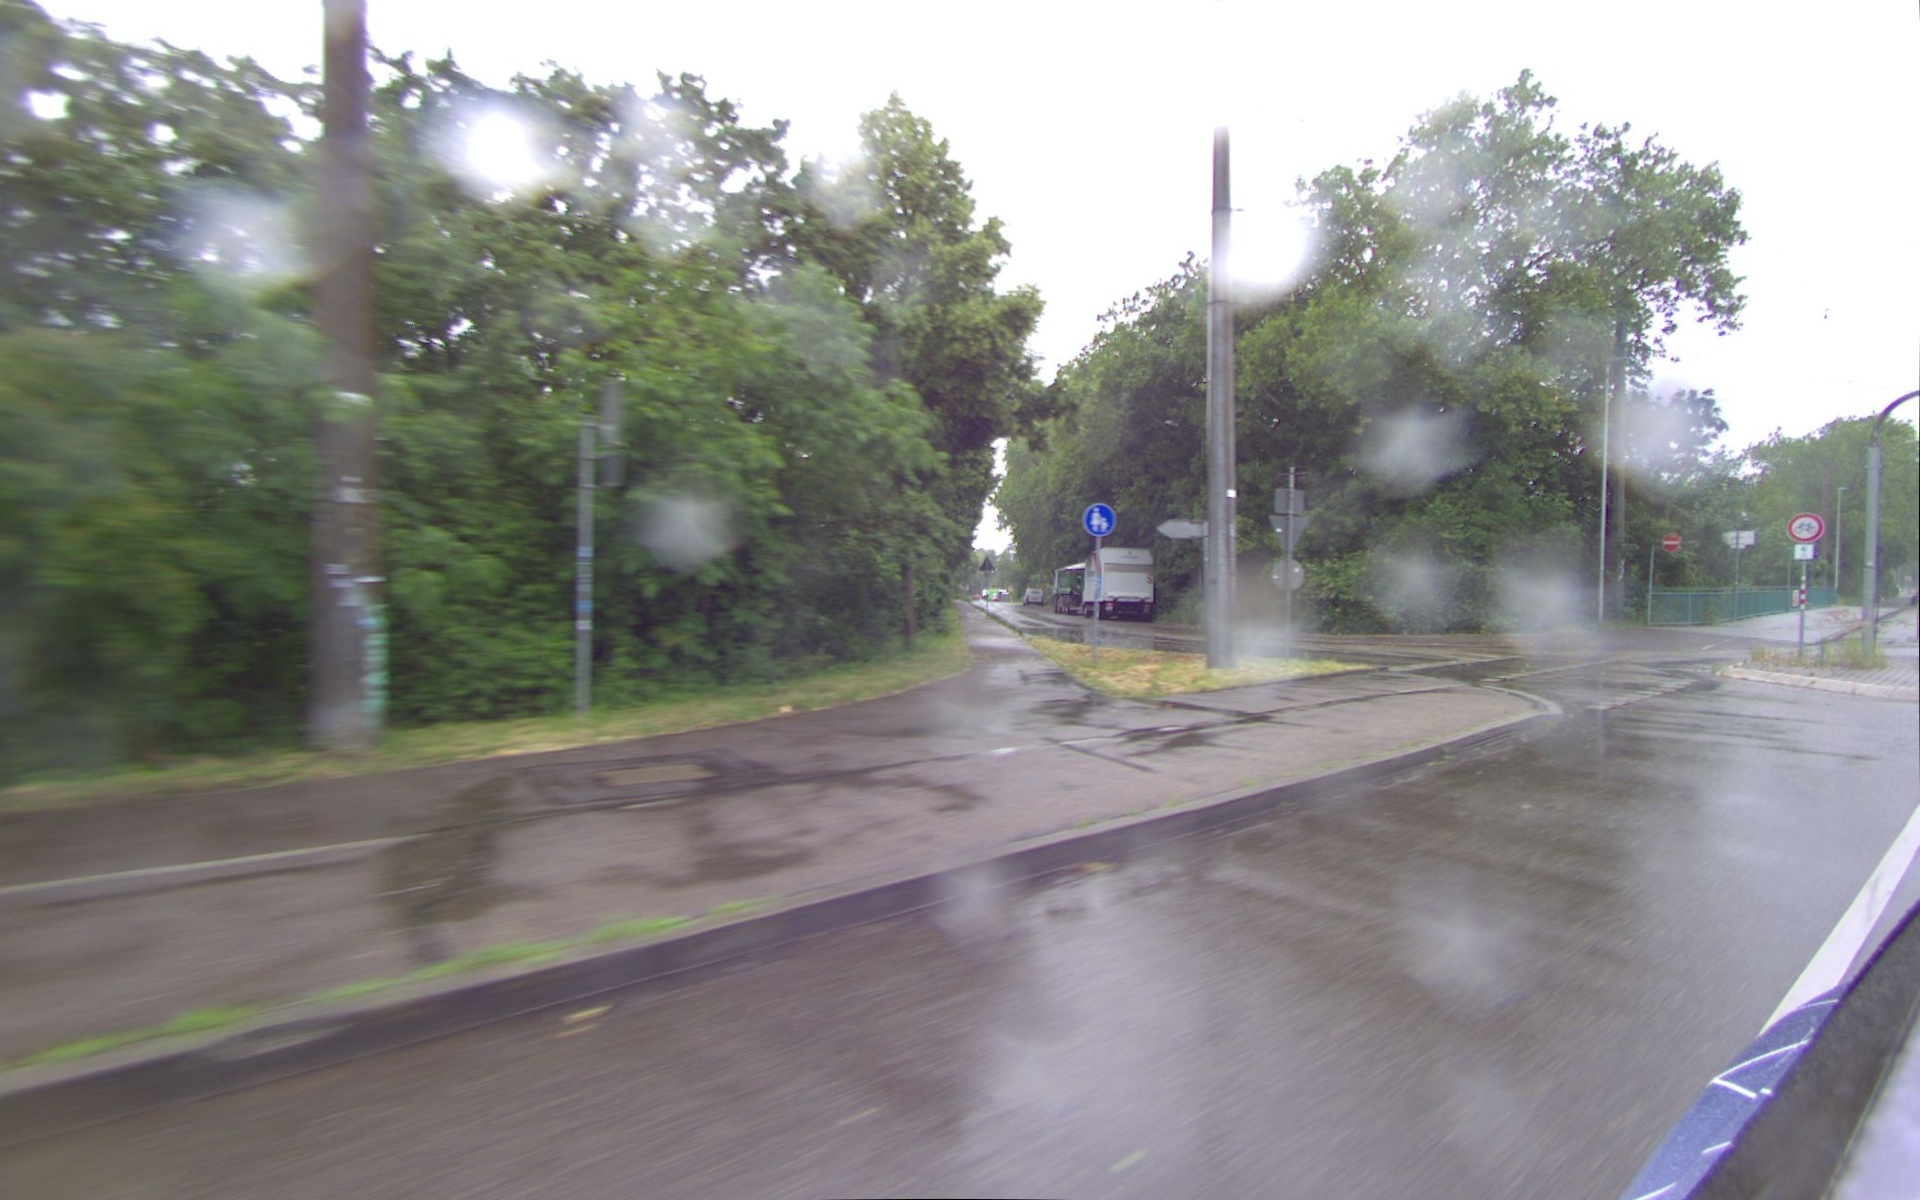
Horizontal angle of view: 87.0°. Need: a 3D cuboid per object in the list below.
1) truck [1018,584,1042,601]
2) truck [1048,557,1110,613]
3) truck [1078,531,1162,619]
[{"bbox_3d":[7.767,-0.857,112.972,2.106,1.891,6.666,-1,1,-1],"label":"truck"},{"bbox_3d":[7.592,-0.969,65.751,2.492,3.401,8.546,-1,1,-3],"label":"truck"},{"bbox_3d":[8.377,-1.272,54.130,2.959,4.286,8.375,-1,1,-1],"label":"truck"}]
